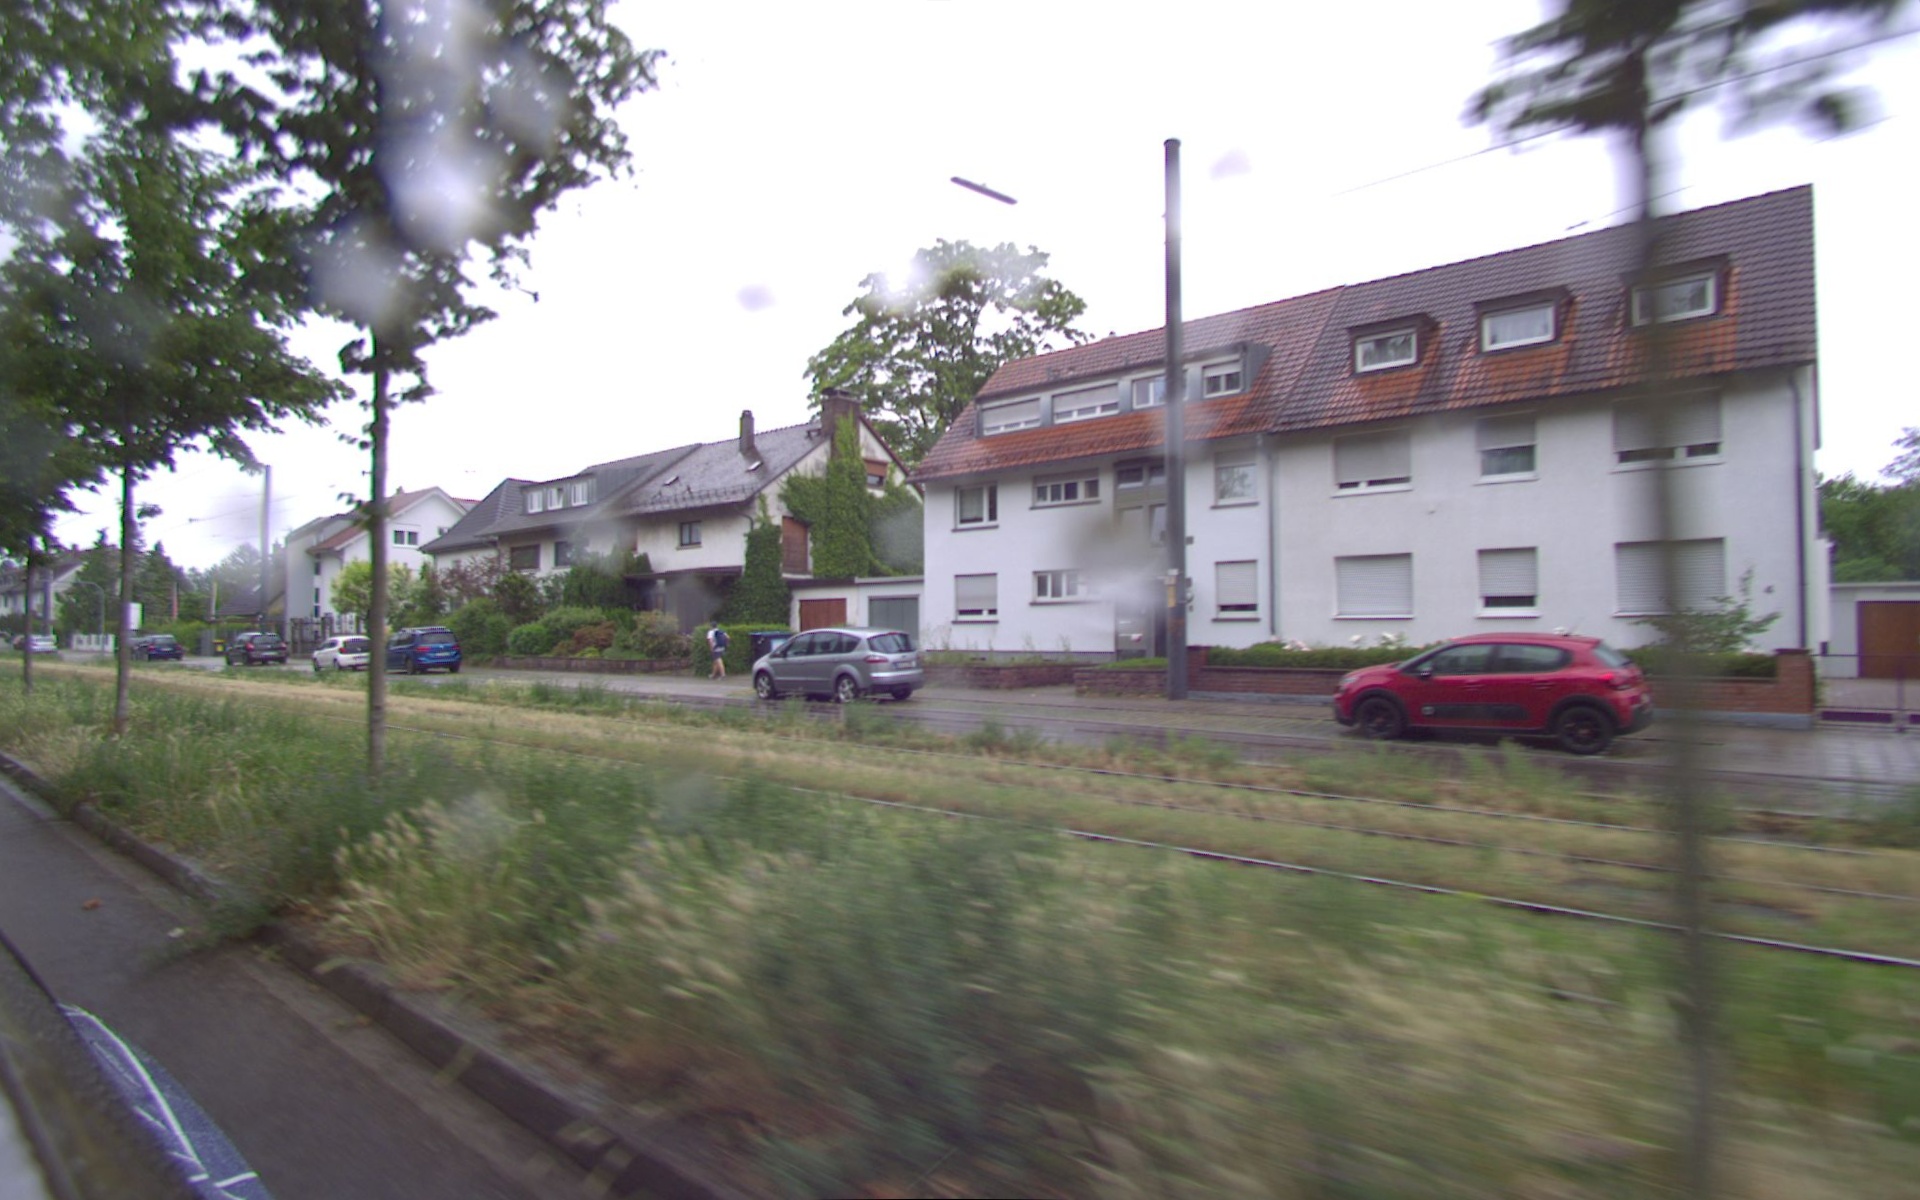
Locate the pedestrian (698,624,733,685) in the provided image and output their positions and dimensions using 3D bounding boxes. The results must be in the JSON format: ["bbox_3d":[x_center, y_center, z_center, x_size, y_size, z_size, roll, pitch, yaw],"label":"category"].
[{"bbox_3d":[-7.265,1.612,30.073,0.868,1.781,0.592,-2,-2,41],"label":"pedestrian"}]

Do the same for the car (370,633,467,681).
[{"bbox_3d":[-20.663,2.132,38.553,4.178,1.719,1.826,-2,-1,39],"label":"car"}]

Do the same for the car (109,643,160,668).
[{"bbox_3d":[-52.155,3.488,63.916,3.998,1.510,1.869,-2,-3,41],"label":"car"}]

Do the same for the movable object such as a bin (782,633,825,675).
[{"bbox_3d":[-5.188,1.782,33.587,0.739,1.308,1.241,-2,-1,41],"label":"movable object such as a bin"}]

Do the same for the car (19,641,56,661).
[{"bbox_3d":[-75.024,4.141,82.252,3.851,1.527,1.737,-2,0,41],"label":"car"}]

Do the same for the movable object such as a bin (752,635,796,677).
[{"bbox_3d":[-6.013,1.795,32.687,0.739,1.308,1.172,-2,-2,41],"label":"movable object such as a bin"}]

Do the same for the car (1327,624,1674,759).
[{"bbox_3d":[7.507,1.173,14.255,3.971,1.558,1.822,-2,0,42],"label":"car"}]

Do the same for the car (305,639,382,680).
[{"bbox_3d":[-26.204,2.491,42.973,3.598,1.540,1.696,-2,0,40],"label":"car"}]

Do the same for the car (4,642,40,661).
[{"bbox_3d":[-78.713,4.306,84.923,3.851,1.527,1.737,-2,0,41],"label":"car"}]

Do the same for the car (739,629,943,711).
[{"bbox_3d":[-2.781,1.511,22.921,4.682,1.626,1.972,-2,-1,42],"label":"car"}]

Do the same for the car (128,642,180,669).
[{"bbox_3d":[-48.717,3.322,61.155,3.851,1.527,1.737,-2,0,41],"label":"car"}]

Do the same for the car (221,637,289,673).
[{"bbox_3d":[-35.027,2.705,50.252,4.108,1.626,1.737,-2,0,41],"label":"car"}]
